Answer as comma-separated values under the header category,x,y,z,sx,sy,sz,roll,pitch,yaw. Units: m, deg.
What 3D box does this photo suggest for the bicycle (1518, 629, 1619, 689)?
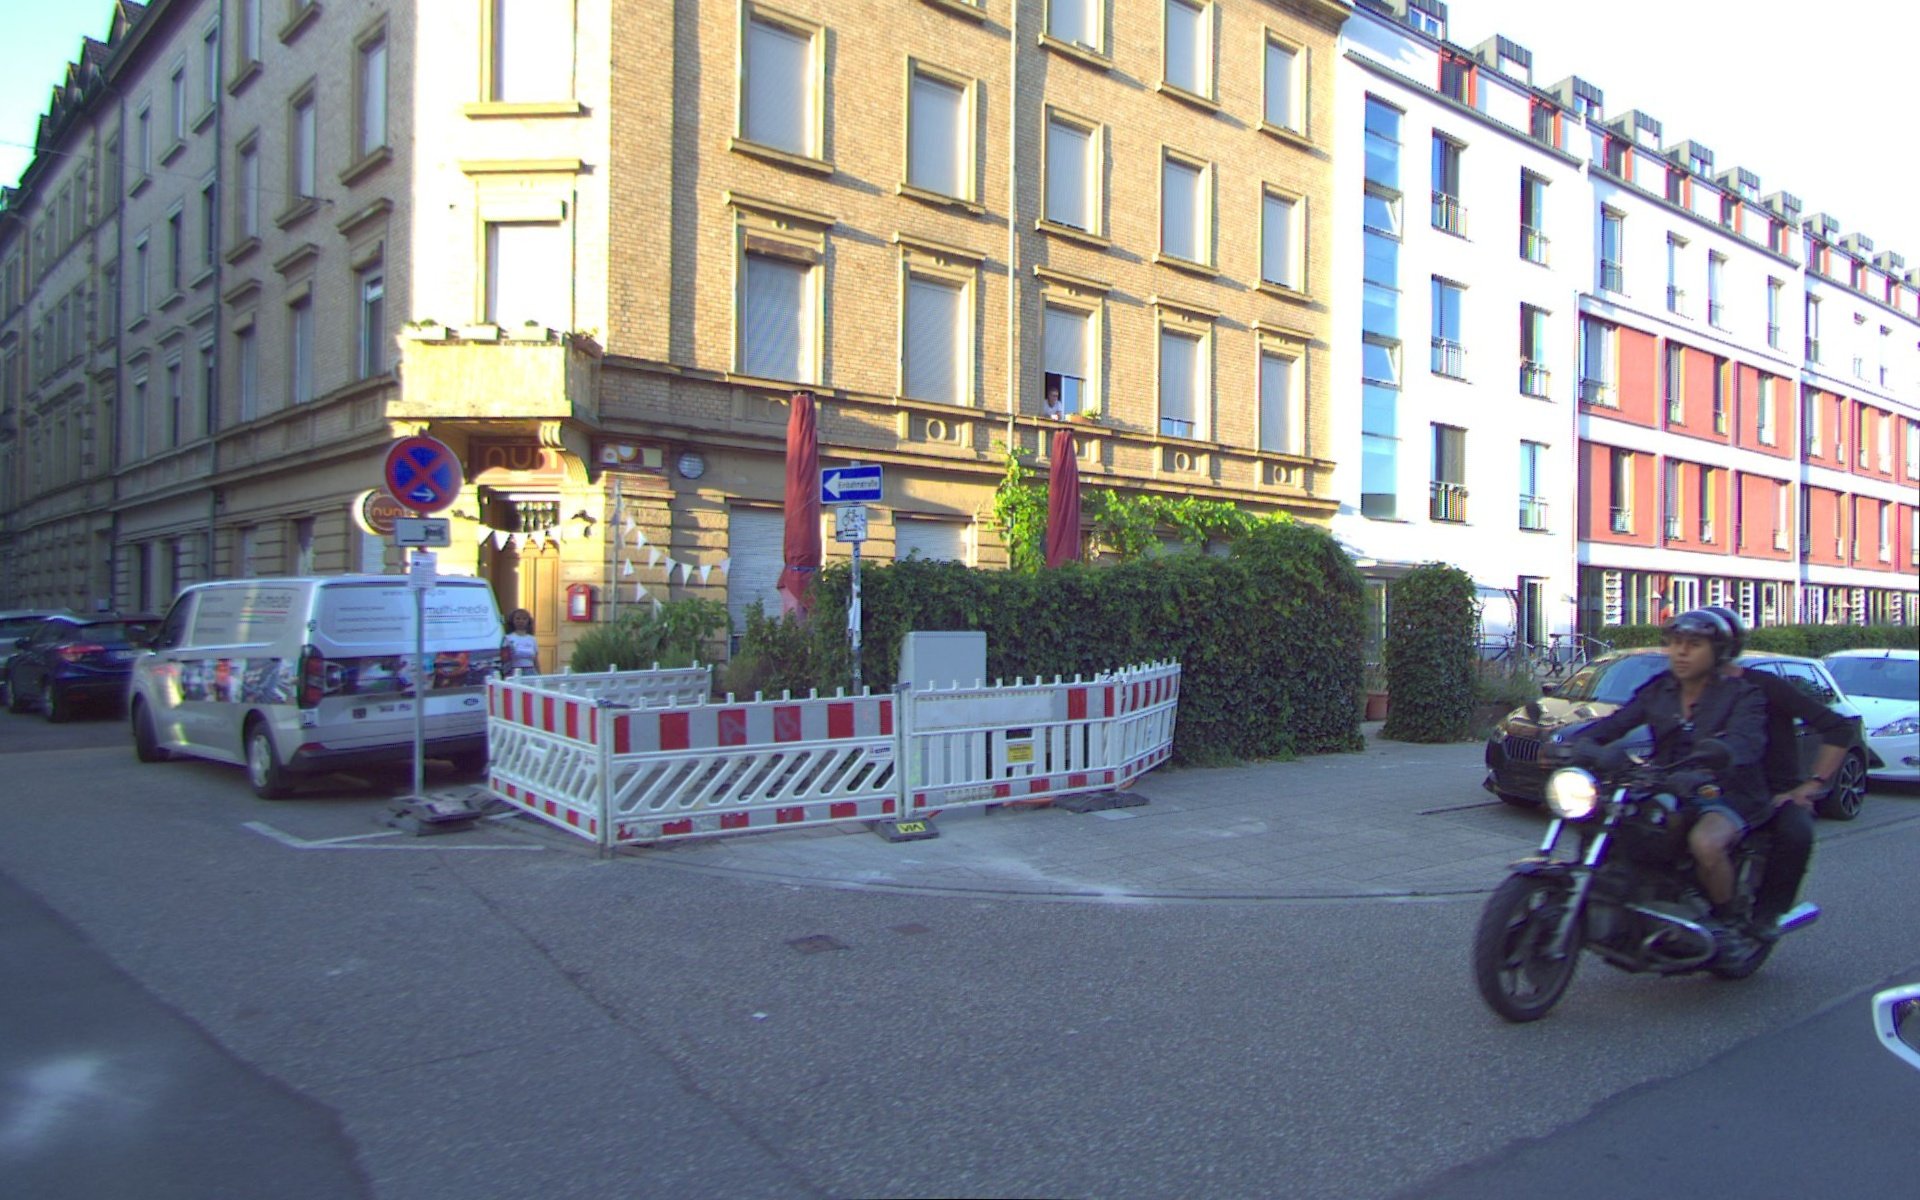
category,x,y,z,sx,sy,sz,roll,pitch,yaw
bicycle,12.860,1.224,21.283,0.603,1.163,1.768,1,0,-28

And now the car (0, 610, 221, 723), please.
category,x,y,z,sx,sy,sz,roll,pitch,yaw
car,-13.756,0.970,16.054,3.854,1.592,2.016,-1,-1,35

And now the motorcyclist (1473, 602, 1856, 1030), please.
category,x,y,z,sx,sy,sz,roll,pitch,yaw
motorcyclist,2.892,0.805,4.202,0.955,1.524,0.888,1,-4,-21

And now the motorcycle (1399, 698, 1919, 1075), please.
category,x,y,z,sx,sy,sz,roll,pitch,yaw
motorcycle,2.967,1.052,4.218,2.044,1.224,0.845,1,-4,-21

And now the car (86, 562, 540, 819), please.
category,x,y,z,sx,sy,sz,roll,pitch,yaw
car,-6.754,0.733,10.255,5.209,2.001,2.201,0,-1,37

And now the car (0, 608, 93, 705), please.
category,x,y,z,sx,sy,sz,roll,pitch,yaw
car,-17.689,0.992,18.784,3.939,1.644,1.577,-1,-1,39

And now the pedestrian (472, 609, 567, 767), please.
category,x,y,z,sx,sy,sz,roll,pitch,yaw
pedestrian,-4.849,0.933,11.056,0.707,1.640,0.776,1,0,-44

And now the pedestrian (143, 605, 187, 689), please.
category,x,y,z,sx,sy,sz,roll,pitch,yaw
pedestrian,-16.602,0.977,20.985,0.490,1.709,0.592,2,0,37

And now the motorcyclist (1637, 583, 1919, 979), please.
category,x,y,z,sx,sy,sz,roll,pitch,yaw
motorcyclist,3.606,0.740,4.458,0.537,1.560,0.786,1,-4,-21

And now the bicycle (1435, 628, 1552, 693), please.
category,x,y,z,sx,sy,sz,roll,pitch,yaw
bicycle,10.623,1.186,20.066,0.802,1.157,1.906,1,0,-29

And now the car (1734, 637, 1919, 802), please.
category,x,y,z,sx,sy,sz,roll,pitch,yaw
car,10.577,1.228,11.420,3.975,1.550,1.641,2,-1,-34

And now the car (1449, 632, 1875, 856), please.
category,x,y,z,sx,sy,sz,roll,pitch,yaw
car,6.255,1.098,8.875,3.800,1.554,1.695,2,-1,-31
